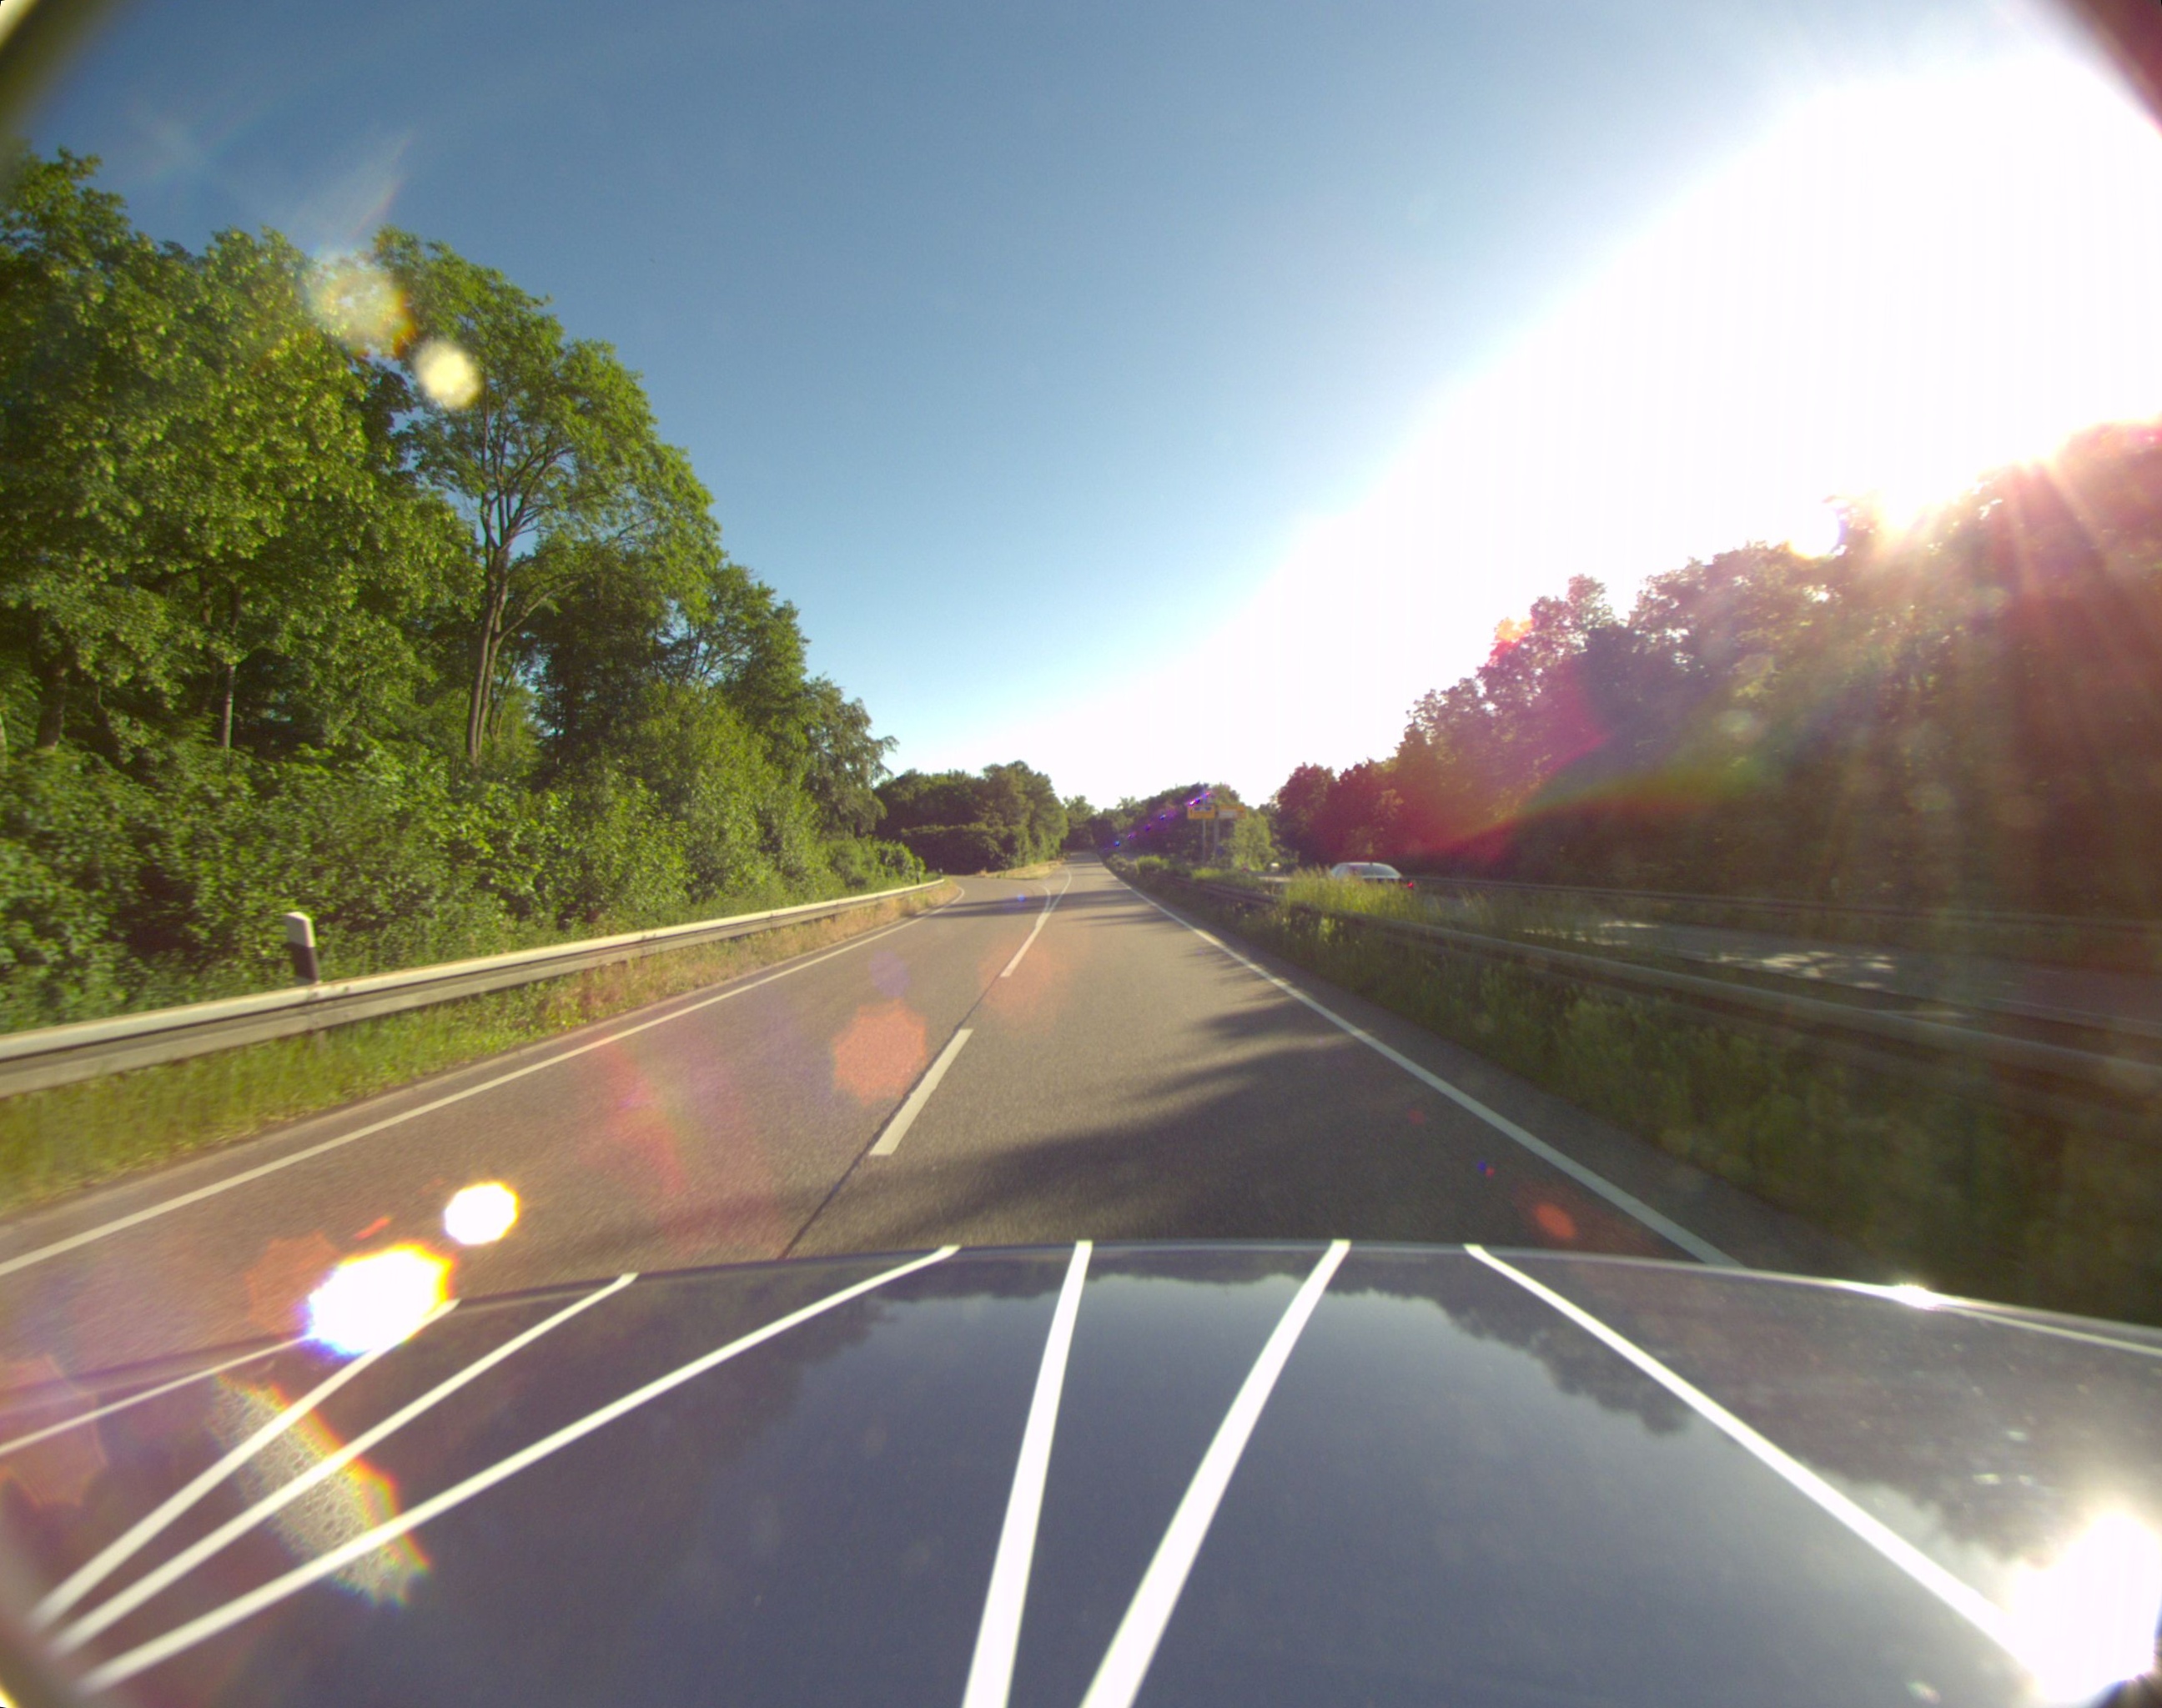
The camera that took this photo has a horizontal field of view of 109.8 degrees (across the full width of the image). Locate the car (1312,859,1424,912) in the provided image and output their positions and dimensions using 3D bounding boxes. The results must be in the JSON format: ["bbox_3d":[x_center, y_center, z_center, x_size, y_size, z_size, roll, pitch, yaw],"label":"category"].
[{"bbox_3d":[8.408,0.860,22.695,1.785,1.395,4.553,0,0,2],"label":"car"}]
